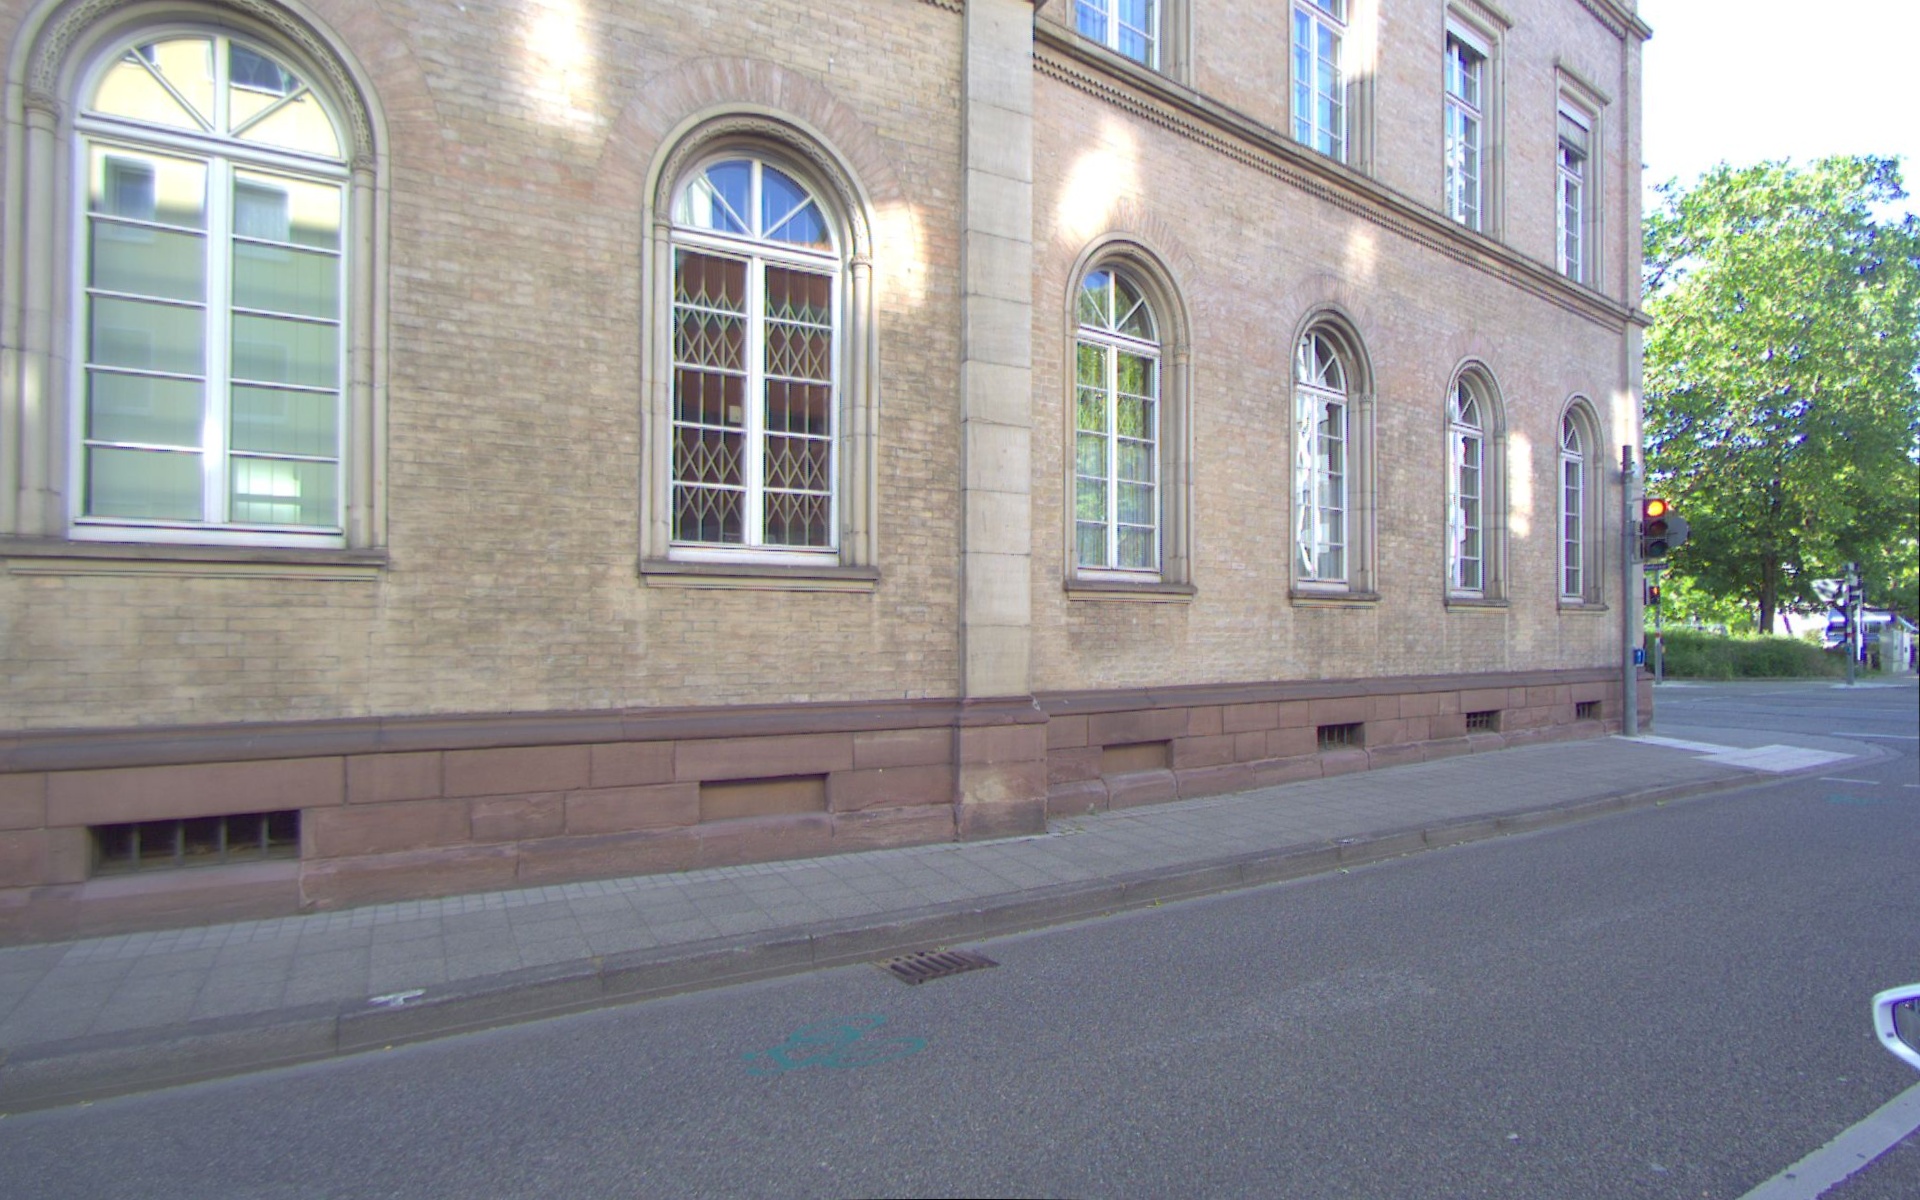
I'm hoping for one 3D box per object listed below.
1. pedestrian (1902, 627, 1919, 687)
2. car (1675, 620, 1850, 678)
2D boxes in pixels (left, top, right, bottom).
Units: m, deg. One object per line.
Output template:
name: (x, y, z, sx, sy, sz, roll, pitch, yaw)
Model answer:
pedestrian: (26.356, 1.561, 27.519, 0.702, 1.620, 0.615, -1, -1, 36)
car: (26.355, 1.558, 33.112, 1.888, 1.801, 4.193, 1, -2, -37)
